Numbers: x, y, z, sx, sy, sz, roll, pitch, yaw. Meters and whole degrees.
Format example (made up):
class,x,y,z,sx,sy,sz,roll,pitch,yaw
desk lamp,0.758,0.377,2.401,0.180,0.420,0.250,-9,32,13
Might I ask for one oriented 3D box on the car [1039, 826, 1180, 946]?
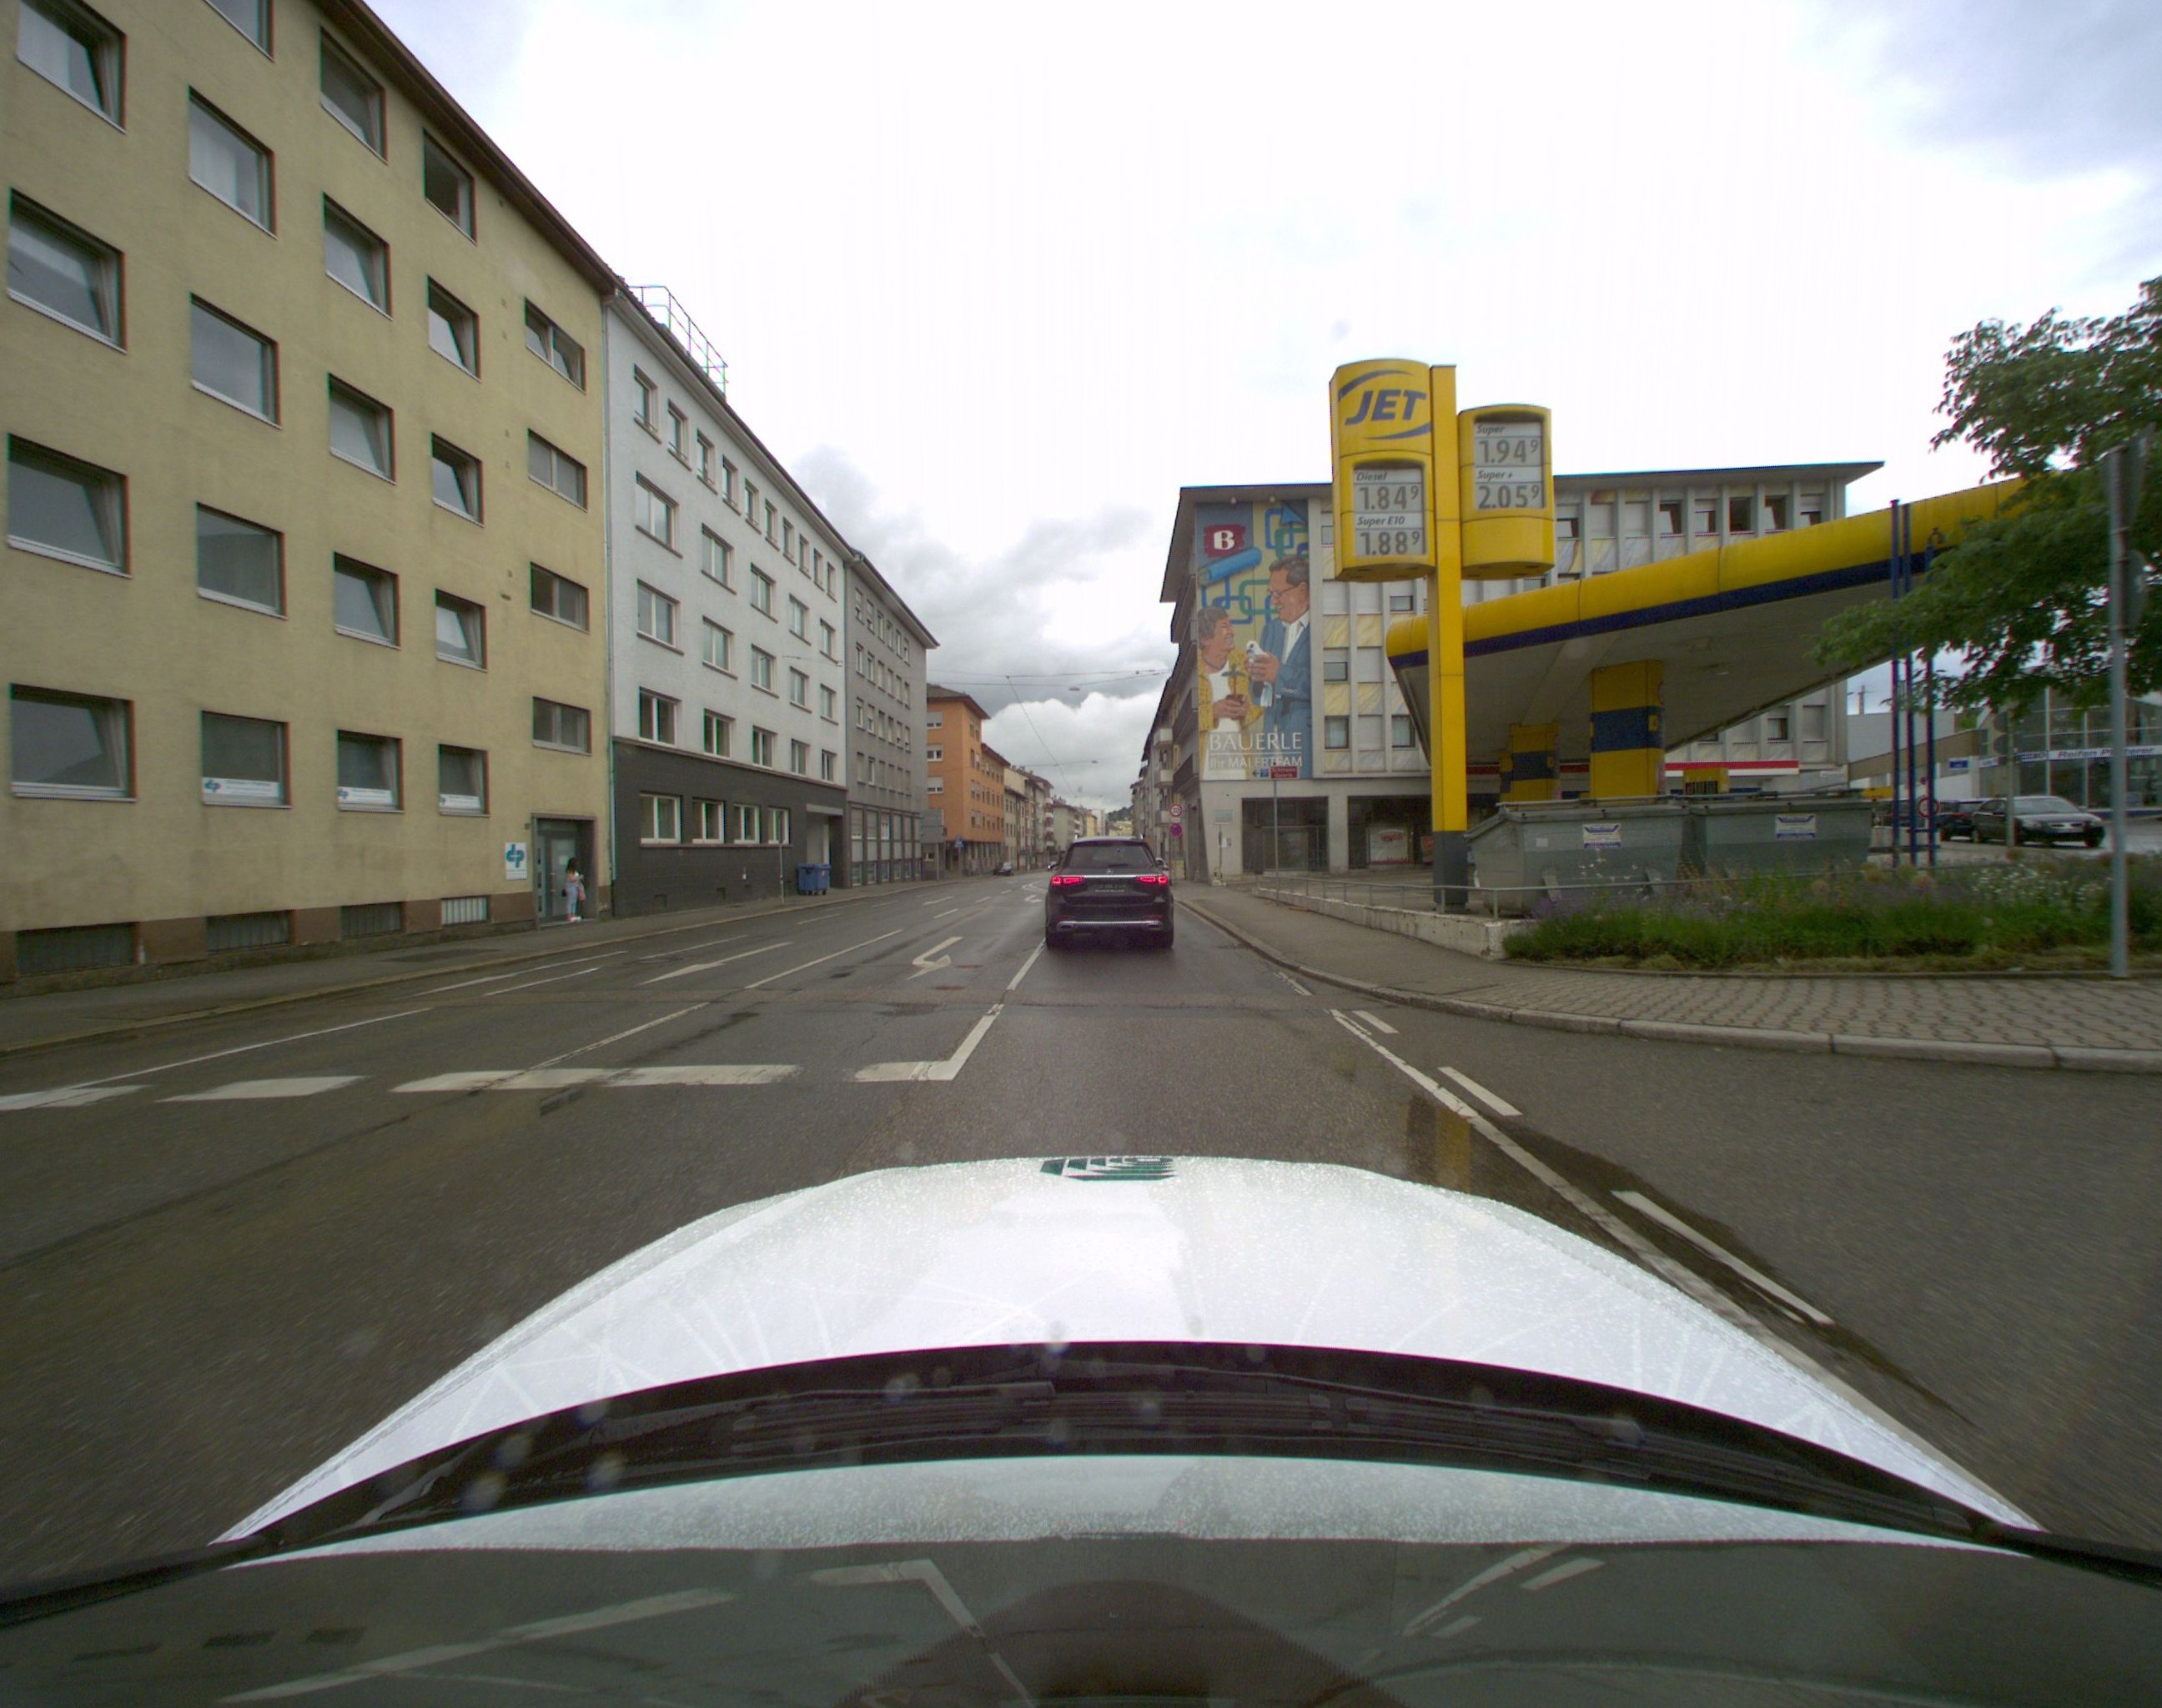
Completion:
class,x,y,z,sx,sy,sz,roll,pitch,yaw
car,0.508,0.456,14.302,2.068,1.765,4.613,0,0,2

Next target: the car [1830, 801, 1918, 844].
class,x,y,z,sx,sy,sz,roll,pitch,yaw
car,37.673,-1.438,38.802,1.974,1.865,4.608,0,0,31

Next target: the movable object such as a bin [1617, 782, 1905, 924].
class,x,y,z,sx,sy,sz,roll,pitch,yaw
movable object such as a bin,8.526,-0.012,10.401,2.147,1.555,1.774,-3,0,2

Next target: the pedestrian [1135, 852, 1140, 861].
class,x,y,z,sx,sy,sz,roll,pitch,yaw
pedestrian,9.383,0.441,136.063,0.817,1.565,0.901,0,0,5

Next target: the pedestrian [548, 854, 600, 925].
class,x,y,z,sx,sy,sz,roll,pitch,yaw
pedestrian,-12.414,0.851,19.970,0.714,1.689,0.812,0,0,4

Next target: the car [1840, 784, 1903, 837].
class,x,y,z,sx,sy,sz,roll,pitch,yaw
car,59.268,-3.186,61.158,2.353,3.687,5.025,0,0,32

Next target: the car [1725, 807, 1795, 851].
class,x,y,z,sx,sy,sz,roll,pitch,yaw
car,27.130,-0.926,32.626,1.974,1.516,4.446,-3,-2,39

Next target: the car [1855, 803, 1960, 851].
class,x,y,z,sx,sy,sz,roll,pitch,yaw
car,34.444,-1.053,34.095,1.974,1.865,4.608,0,0,31

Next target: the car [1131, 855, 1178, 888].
class,x,y,z,sx,sy,sz,roll,pitch,yaw
car,3.691,0.861,41.643,1.887,1.402,4.608,-6,0,0

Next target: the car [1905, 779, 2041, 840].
class,x,y,z,sx,sy,sz,roll,pitch,yaw
car,31.219,-1.480,28.689,1.974,1.865,4.608,0,0,31

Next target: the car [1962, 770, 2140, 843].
class,x,y,z,sx,sy,sz,roll,pitch,yaw
car,28.478,-1.293,24.130,1.974,1.865,4.608,0,0,31

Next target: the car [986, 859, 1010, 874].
class,x,y,z,sx,sy,sz,roll,pitch,yaw
car,-8.209,1.211,80.783,1.885,1.458,4.549,0,0,0

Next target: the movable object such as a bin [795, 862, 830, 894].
class,x,y,z,sx,sy,sz,roll,pitch,yaw
movable object such as a bin,-11.342,1.004,34.446,1.072,1.324,1.191,0,0,2

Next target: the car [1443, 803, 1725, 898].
class,x,y,z,sx,sy,sz,roll,pitch,yaw
car,8.902,-0.002,14.645,1.756,1.442,3.950,-2,-1,-44

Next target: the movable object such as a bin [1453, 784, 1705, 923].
class,x,y,z,sx,sy,sz,roll,pitch,yaw
movable object such as a bin,6.276,-0.006,10.497,2.147,1.574,1.774,-2,0,2

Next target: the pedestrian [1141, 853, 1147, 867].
class,x,y,z,sx,sy,sz,roll,pitch,yaw
pedestrian,8.165,0.781,106.219,0.652,1.752,0.743,-3,-1,7

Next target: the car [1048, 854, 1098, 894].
class,x,y,z,sx,sy,sz,roll,pitch,yaw
car,-0.301,0.765,33.603,1.887,1.510,4.173,1,0,0

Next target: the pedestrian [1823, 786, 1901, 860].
class,x,y,z,sx,sy,sz,roll,pitch,yaw
pedestrian,16.792,-0.648,17.517,0.922,1.523,1.101,0,0,-39
